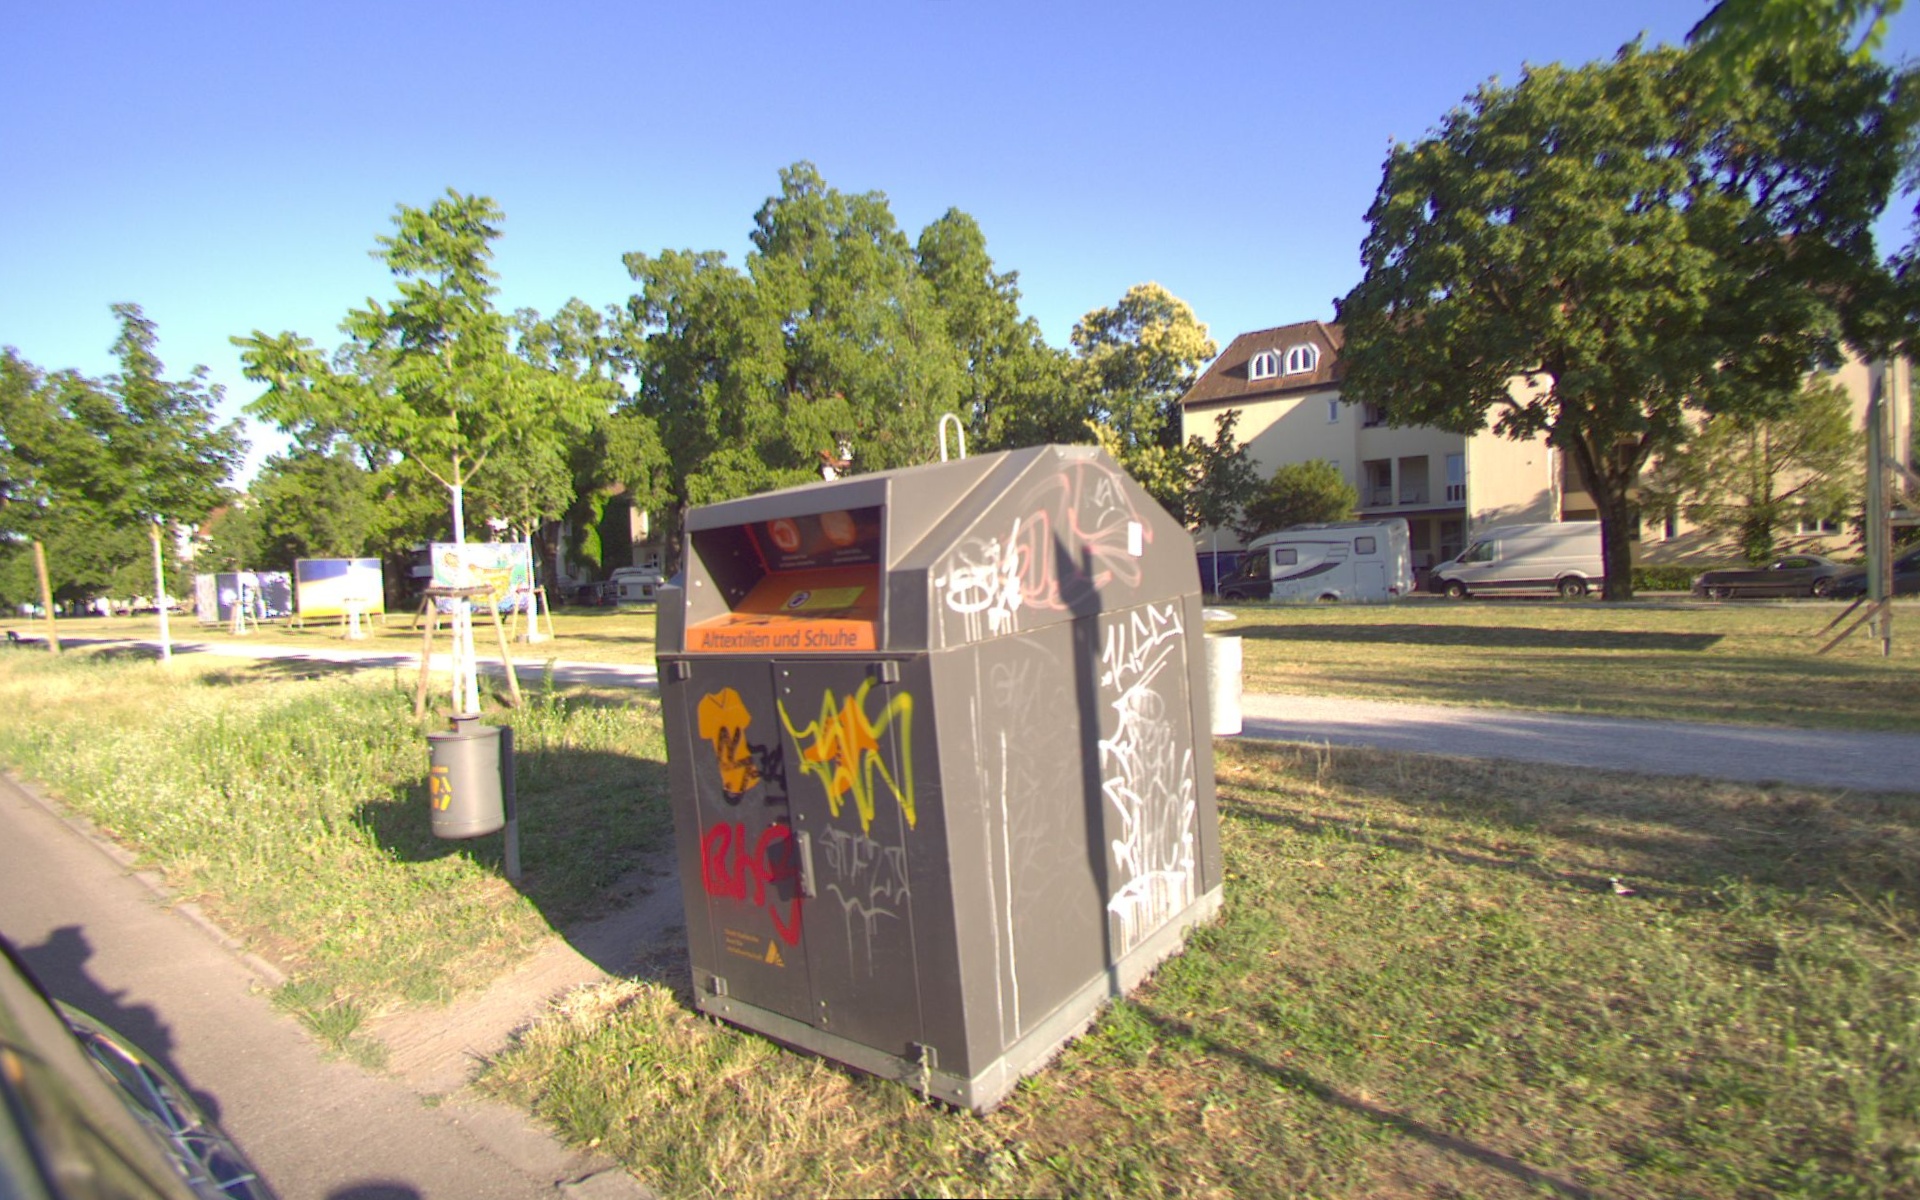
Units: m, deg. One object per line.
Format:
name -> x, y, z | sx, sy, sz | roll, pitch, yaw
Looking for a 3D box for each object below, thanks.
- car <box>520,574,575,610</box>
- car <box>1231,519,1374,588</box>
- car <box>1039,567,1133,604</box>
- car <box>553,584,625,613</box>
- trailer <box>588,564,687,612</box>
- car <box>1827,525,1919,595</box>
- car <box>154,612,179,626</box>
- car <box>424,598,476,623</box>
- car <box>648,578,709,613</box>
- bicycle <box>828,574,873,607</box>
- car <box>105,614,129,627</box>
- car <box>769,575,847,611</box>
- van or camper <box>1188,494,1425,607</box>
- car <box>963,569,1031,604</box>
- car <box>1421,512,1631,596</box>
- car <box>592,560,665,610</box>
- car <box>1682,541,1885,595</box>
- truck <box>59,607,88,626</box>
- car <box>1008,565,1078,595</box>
car -> -32.360, -0.602, 79.403 | 5.042, 2.660, 1.925 | 0, -1, 41
car -> 11.331, -1.516, 33.569 | 3.999, 2.028, 1.973 | -2, 1, 42
car -> 5.784, -0.648, 46.493 | 3.806, 1.554, 1.974 | -1, 2, 39
car -> -23.492, -0.063, 64.042 | 4.947, 1.654, 1.974 | -1, 3, 40
trailer -> -19.186, -0.654, 60.103 | 6.632, 2.679, 2.448 | 0, -1, 40
car -> 22.767, -0.969, 23.216 | 4.306, 1.575, 1.400 | -1, 2, 40
car -> -108.361, 2.558, 138.158 | 3.998, 1.715, 1.973 | -2, 1, 41
car -> -39.208, 0.785, 77.770 | 4.341, 1.741, 1.974 | -2, 1, 40
car -> -18.590, -0.280, 66.862 | 3.999, 2.170, 1.973 | -2, 1, 42
bicycle -> -4.740, -0.405, 43.684 | 2.331, 1.352, 0.505 | -1, 1, 44
car -> -132.210, 3.225, 158.674 | 3.996, 2.029, 2.099 | 0, -1, 40
car -> -8.889, -0.397, 59.104 | 4.712, 1.926, 1.870 | -2, 1, 42
van or camper -> 11.331, -1.516, 33.569 | 6.902, 3.287, 2.614 | -2, 1, 42
car -> 2.310, -0.843, 61.825 | 1.977, 1.914, 4.472 | -2, 2, 36
car -> 19.438, -1.482, 34.991 | 6.087, 2.617, 1.973 | 0, -1, 41
car -> -23.440, -1.036, 71.459 | 6.071, 3.273, 1.973 | -2, 1, 41
car -> 24.491, -0.902, 30.215 | 4.564, 1.413, 1.971 | 0, -1, 45
truck -> -159.506, 3.043, 182.049 | 7.704, 3.169, 2.750 | -1, 2, 40
car -> 5.488, -1.326, 66.310 | 2.070, 1.782, 5.002 | -1, 2, 40
